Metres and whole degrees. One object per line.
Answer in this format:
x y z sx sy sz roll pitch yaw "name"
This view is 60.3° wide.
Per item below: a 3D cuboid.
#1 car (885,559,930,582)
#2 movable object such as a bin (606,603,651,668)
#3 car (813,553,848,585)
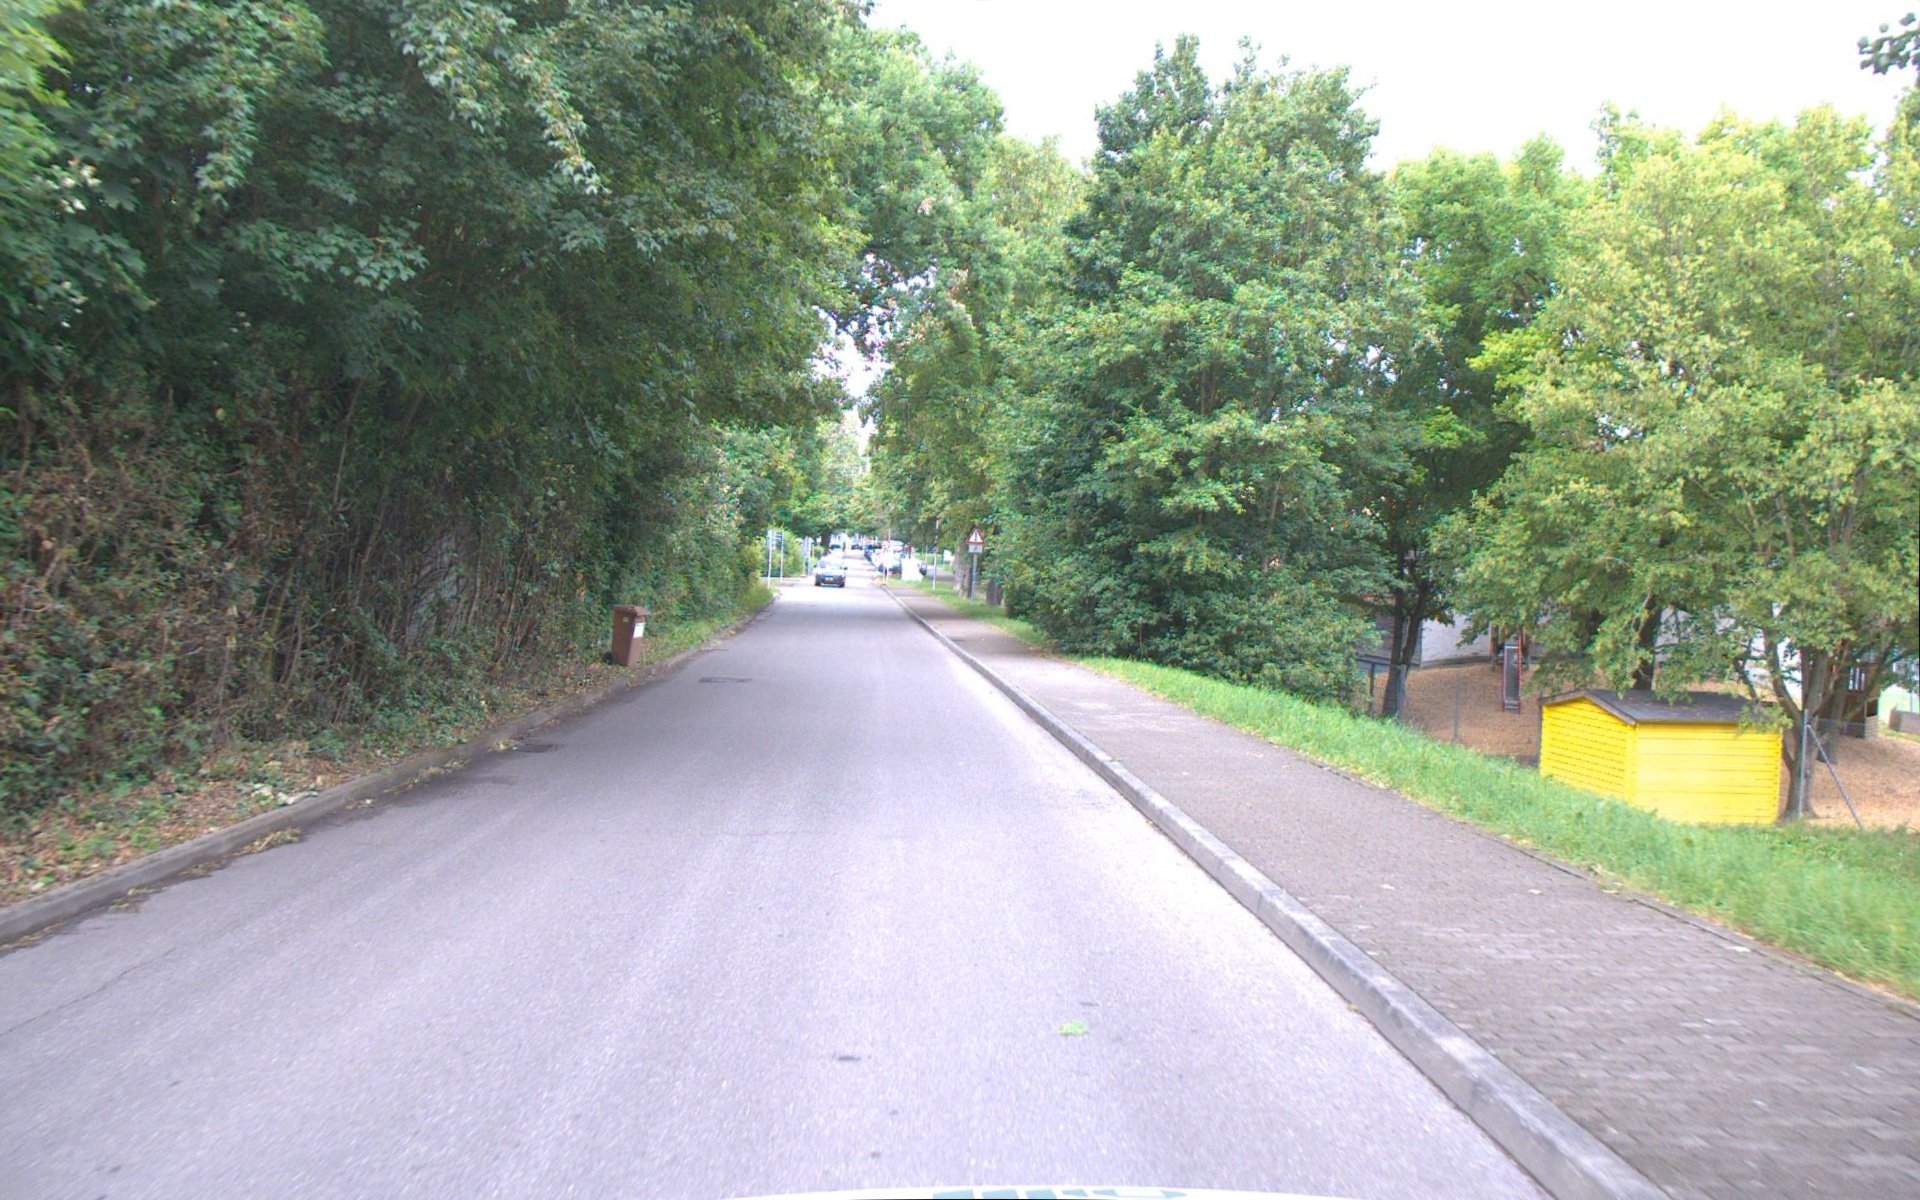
-4.714 -2.652 148.703 3.907 1.803 1.999 3 -1 -3 "car"
-5.180 0.547 25.831 0.578 0.974 0.469 3 -1 -3 "movable object such as a bin"
-8.090 -1.922 103.416 1.954 1.803 3.998 3 -1 -3 "car"
